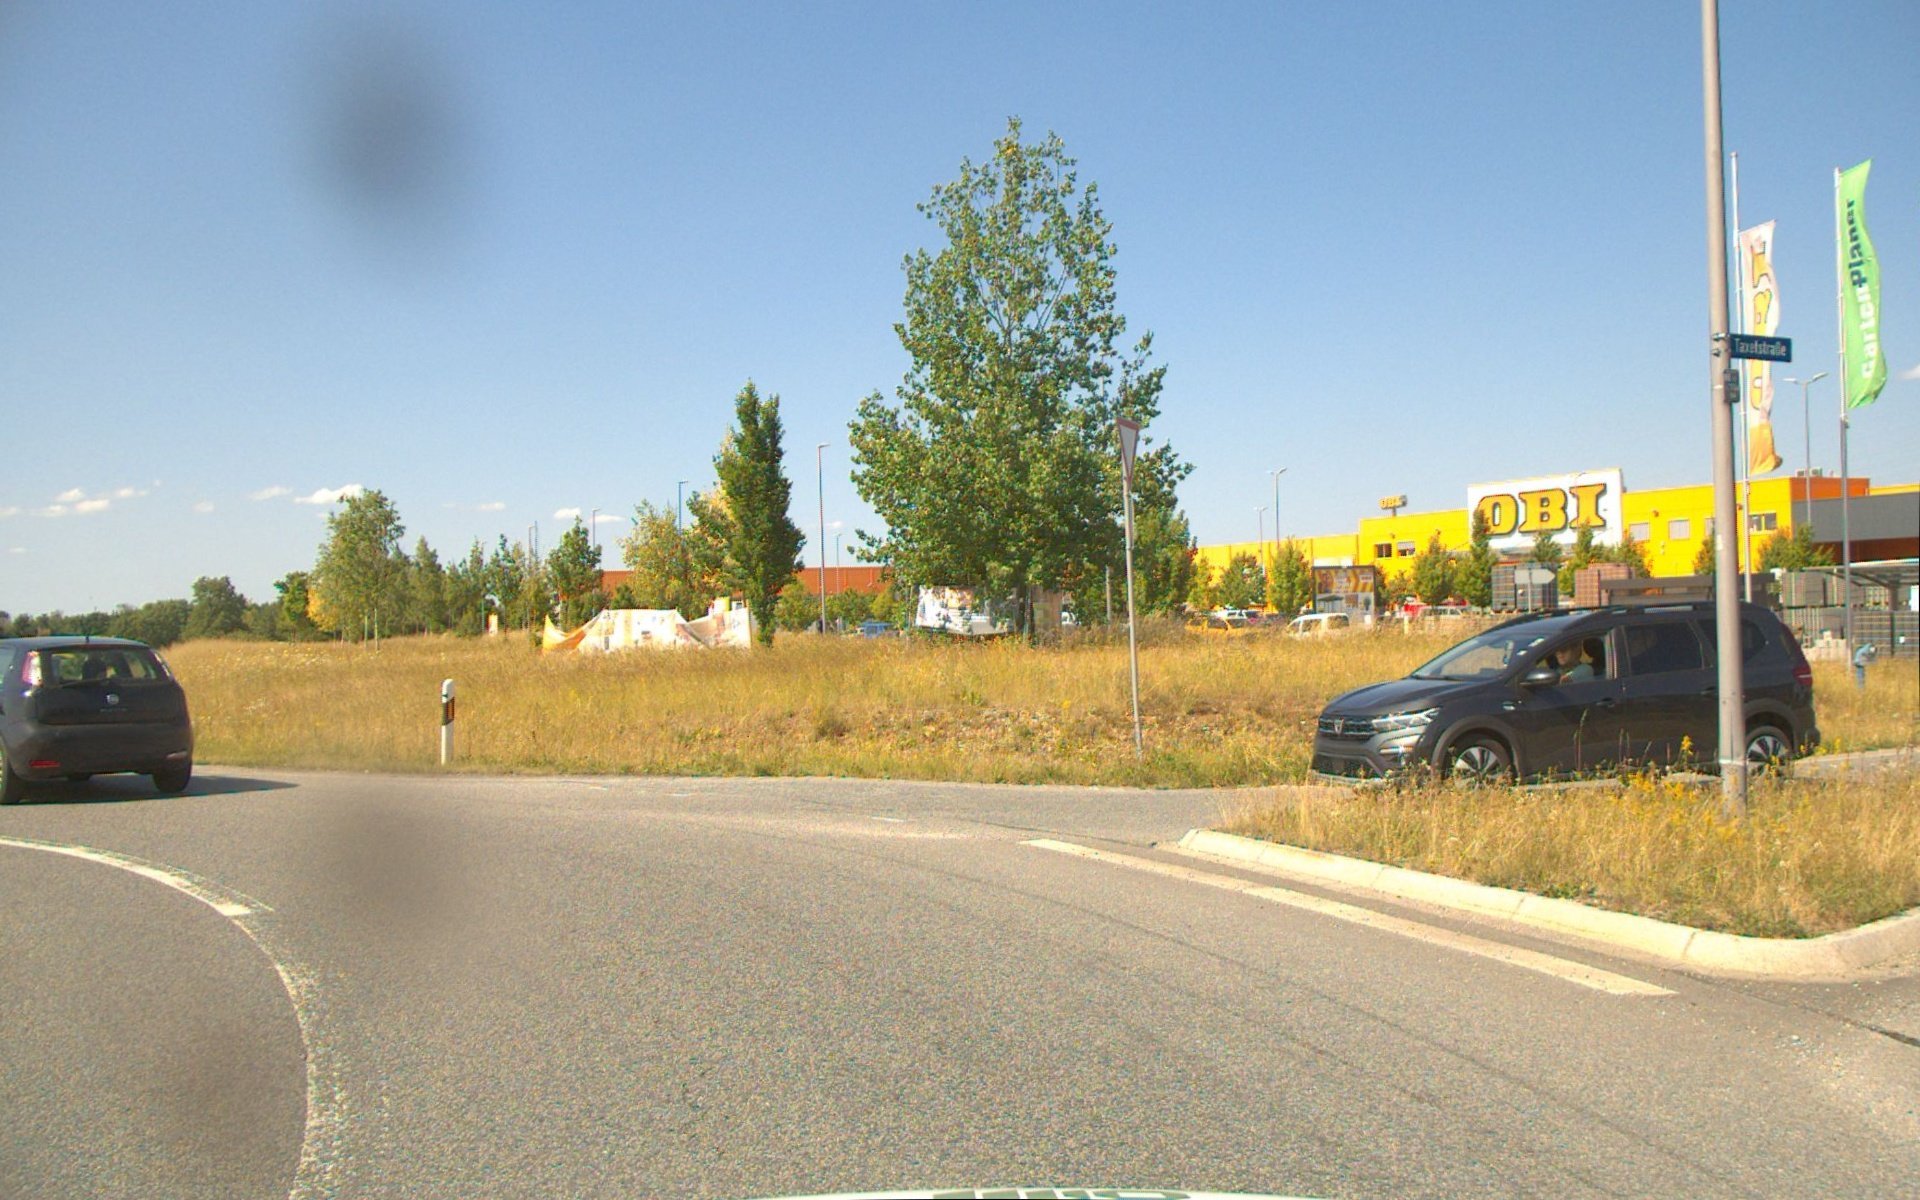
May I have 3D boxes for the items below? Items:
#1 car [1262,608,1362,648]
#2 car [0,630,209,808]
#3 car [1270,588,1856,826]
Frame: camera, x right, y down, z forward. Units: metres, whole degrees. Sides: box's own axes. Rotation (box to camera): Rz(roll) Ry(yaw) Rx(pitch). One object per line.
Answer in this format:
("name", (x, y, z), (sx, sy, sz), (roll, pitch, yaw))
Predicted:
("car", (15.426, 1.246, 72.677), (1.980, 1.646, 3.945), (-1, -1, -38))
("car", (-8.997, 1.104, 16.154), (3.834, 1.514, 1.635), (-3, -2, 42))
("car", (5.233, 0.866, 14.491), (4.540, 1.736, 1.947), (-2, -2, -18))
